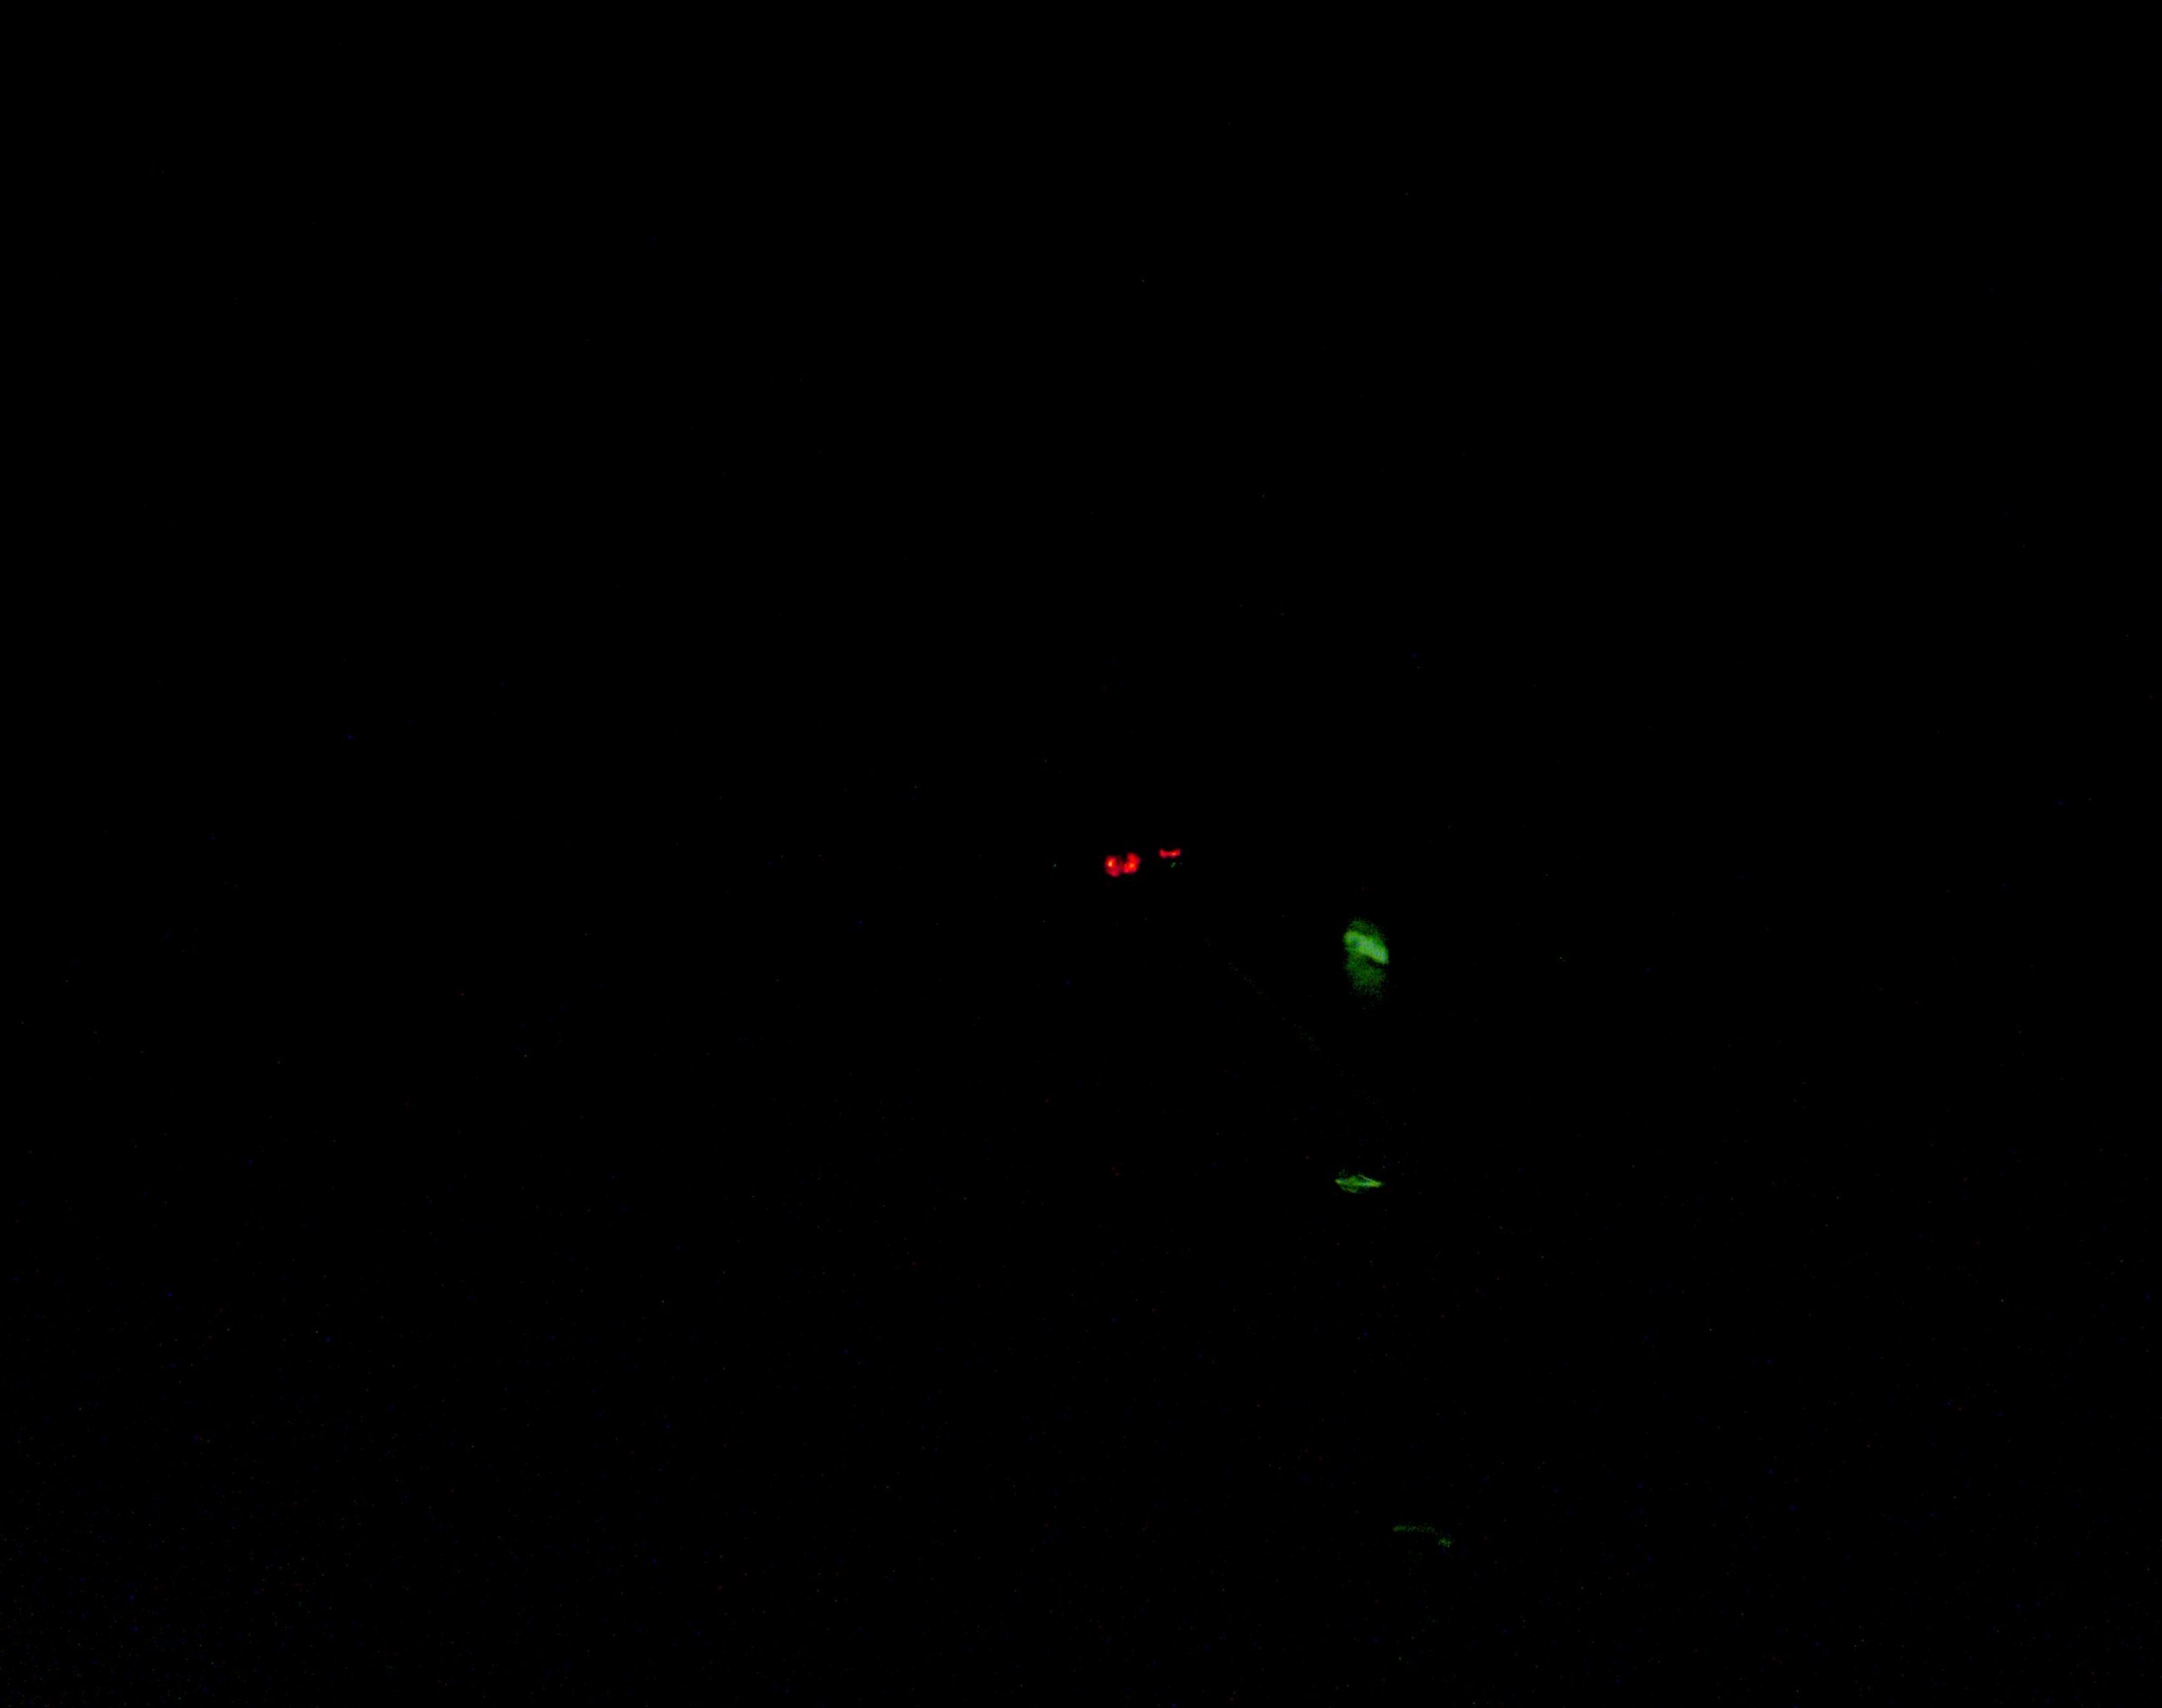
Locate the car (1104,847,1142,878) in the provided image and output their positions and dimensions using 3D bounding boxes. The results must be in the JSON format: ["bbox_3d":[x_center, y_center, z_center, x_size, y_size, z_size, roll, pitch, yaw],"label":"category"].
[{"bbox_3d":[2.575,0.477,49.360,1.831,1.740,4.010,-1,0,9],"label":"car"}]
